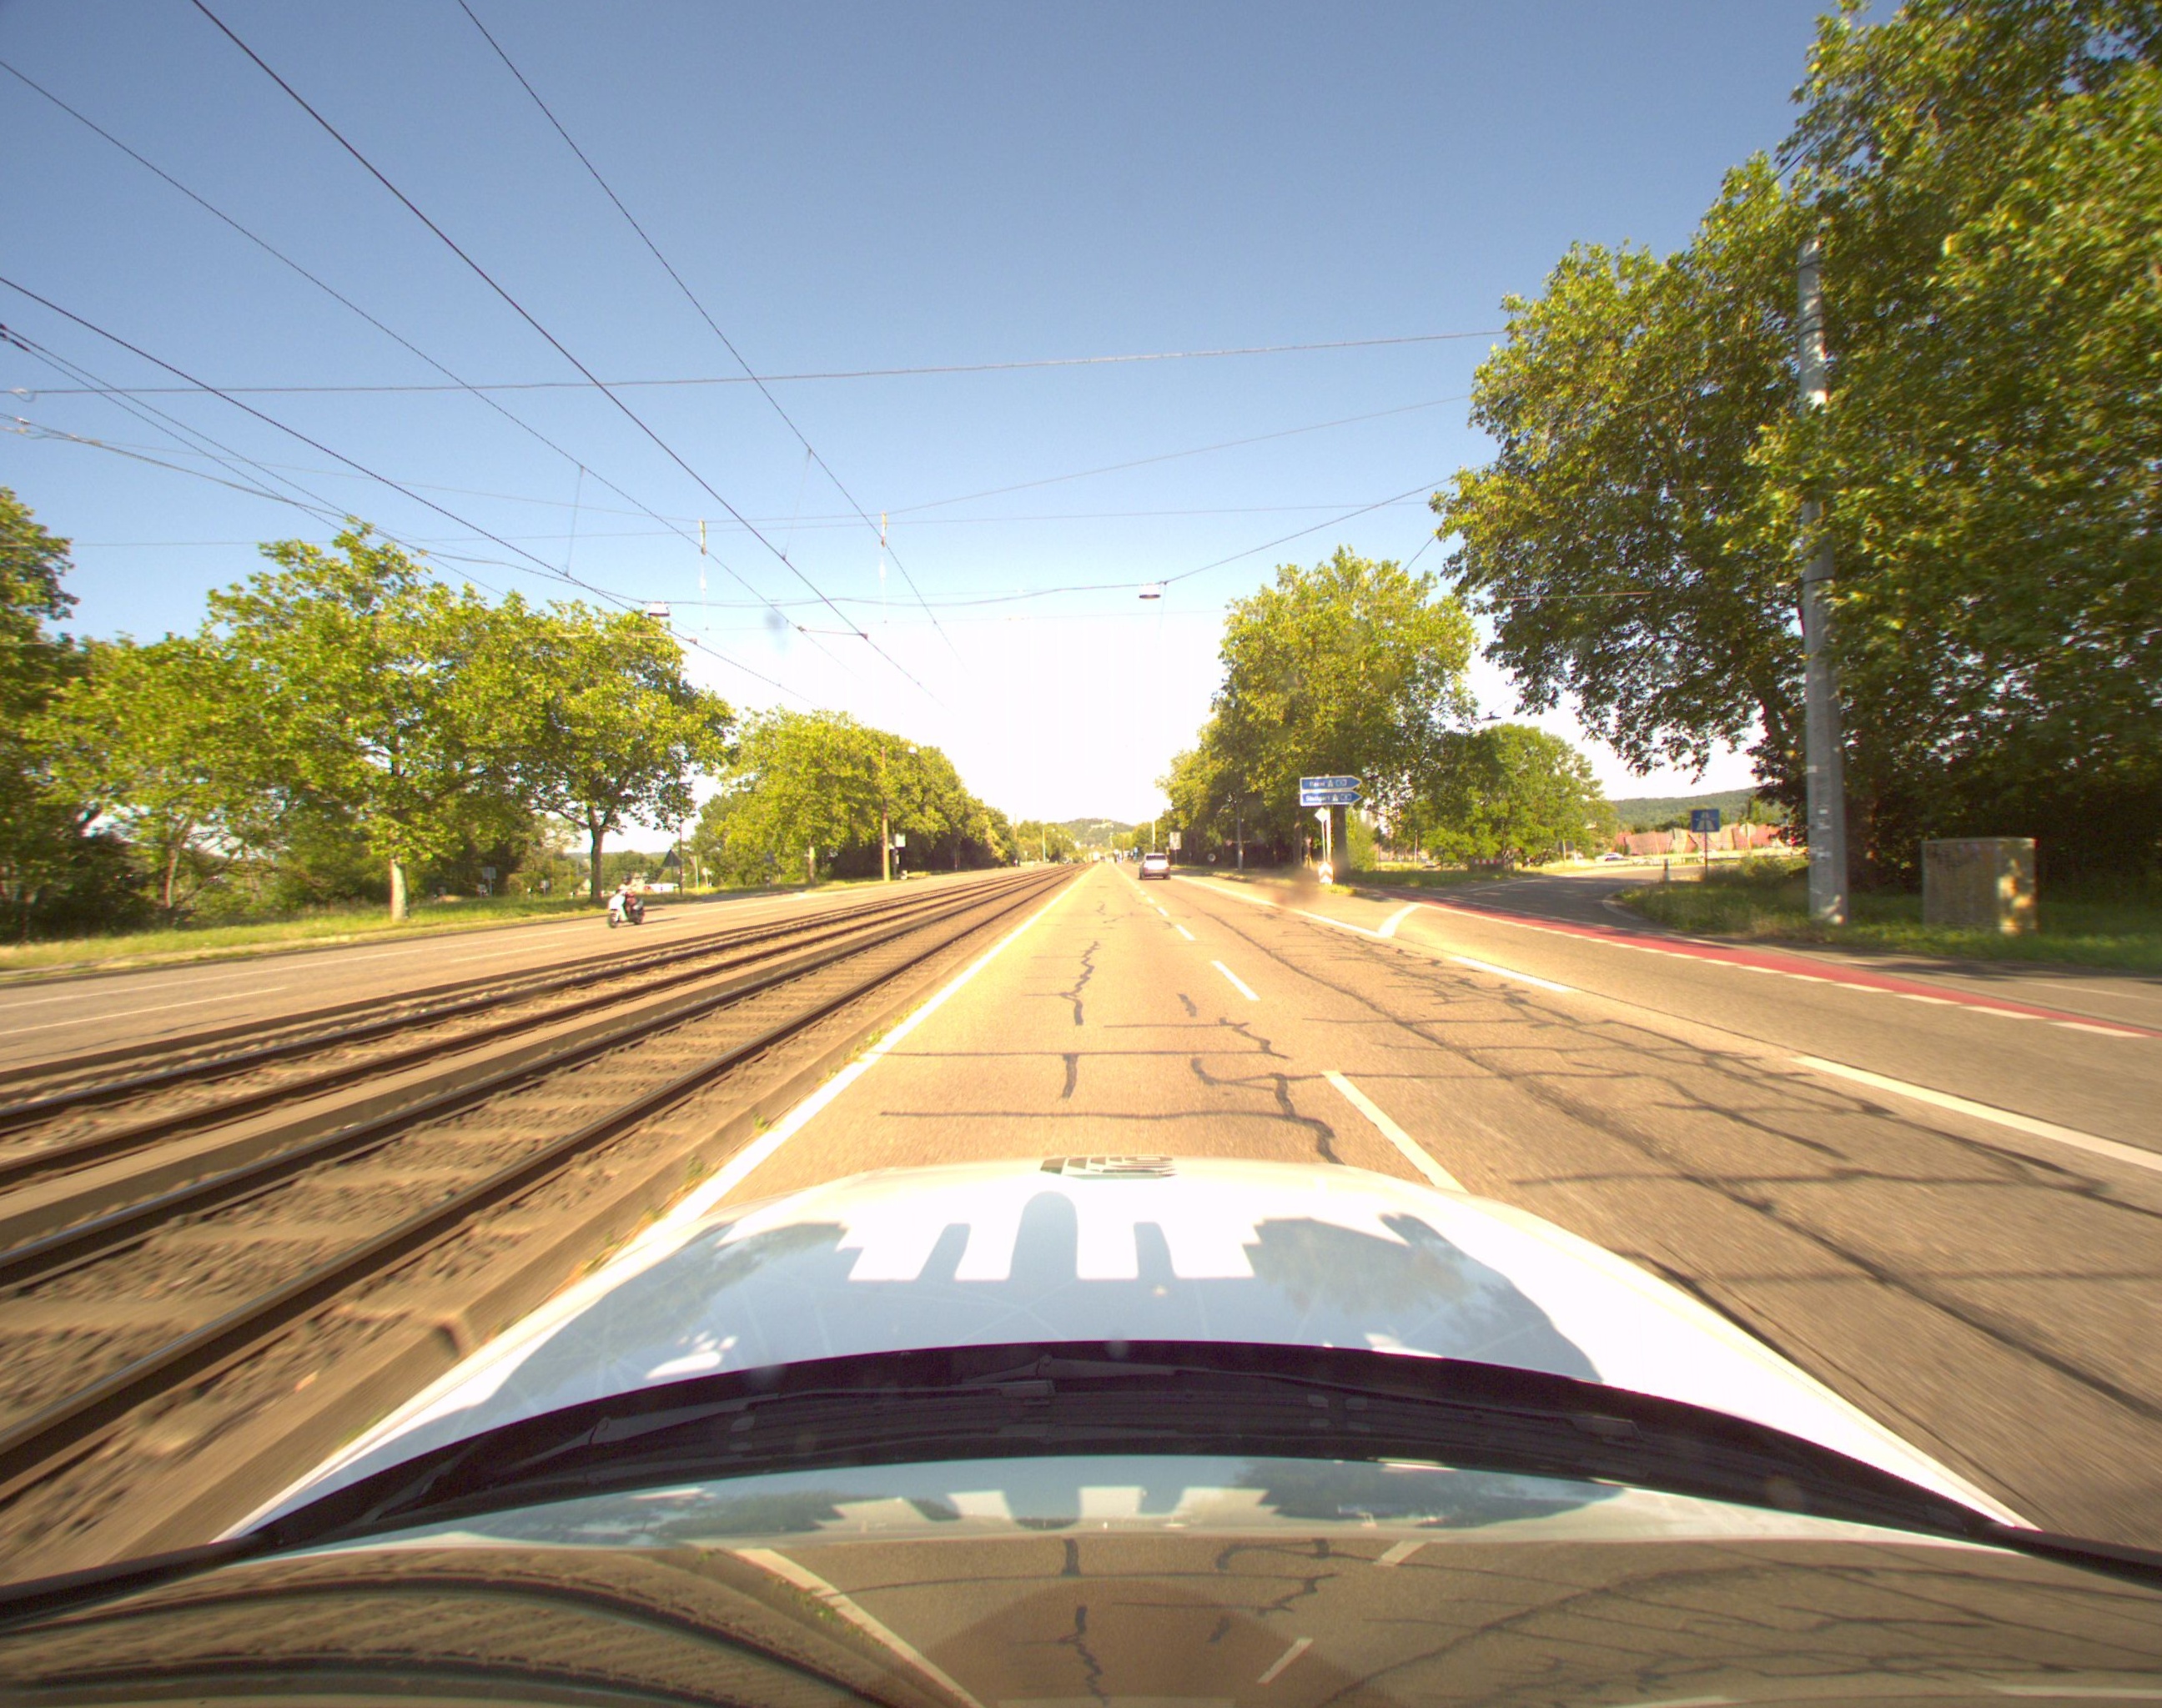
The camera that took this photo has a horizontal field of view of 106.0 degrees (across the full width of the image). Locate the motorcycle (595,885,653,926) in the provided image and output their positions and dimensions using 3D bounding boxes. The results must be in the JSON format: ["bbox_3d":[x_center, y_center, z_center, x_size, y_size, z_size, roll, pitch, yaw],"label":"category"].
[{"bbox_3d":[-13.304,1.467,23.768,0.534,1.091,1.903,0,-1,2],"label":"motorcycle"}]

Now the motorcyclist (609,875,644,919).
[{"bbox_3d":[-13.301,1.250,23.866,0.534,1.270,0.805,0,-1,1],"label":"motorcyclist"}]

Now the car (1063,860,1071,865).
[{"bbox_3d":[-4.522,2.695,261.492,1.984,1.685,4.802,-3,-1,5],"label":"car"}]

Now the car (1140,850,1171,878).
[{"bbox_3d":[4.801,0.648,52.662,1.880,1.693,4.261,-1,-1,4],"label":"car"}]
